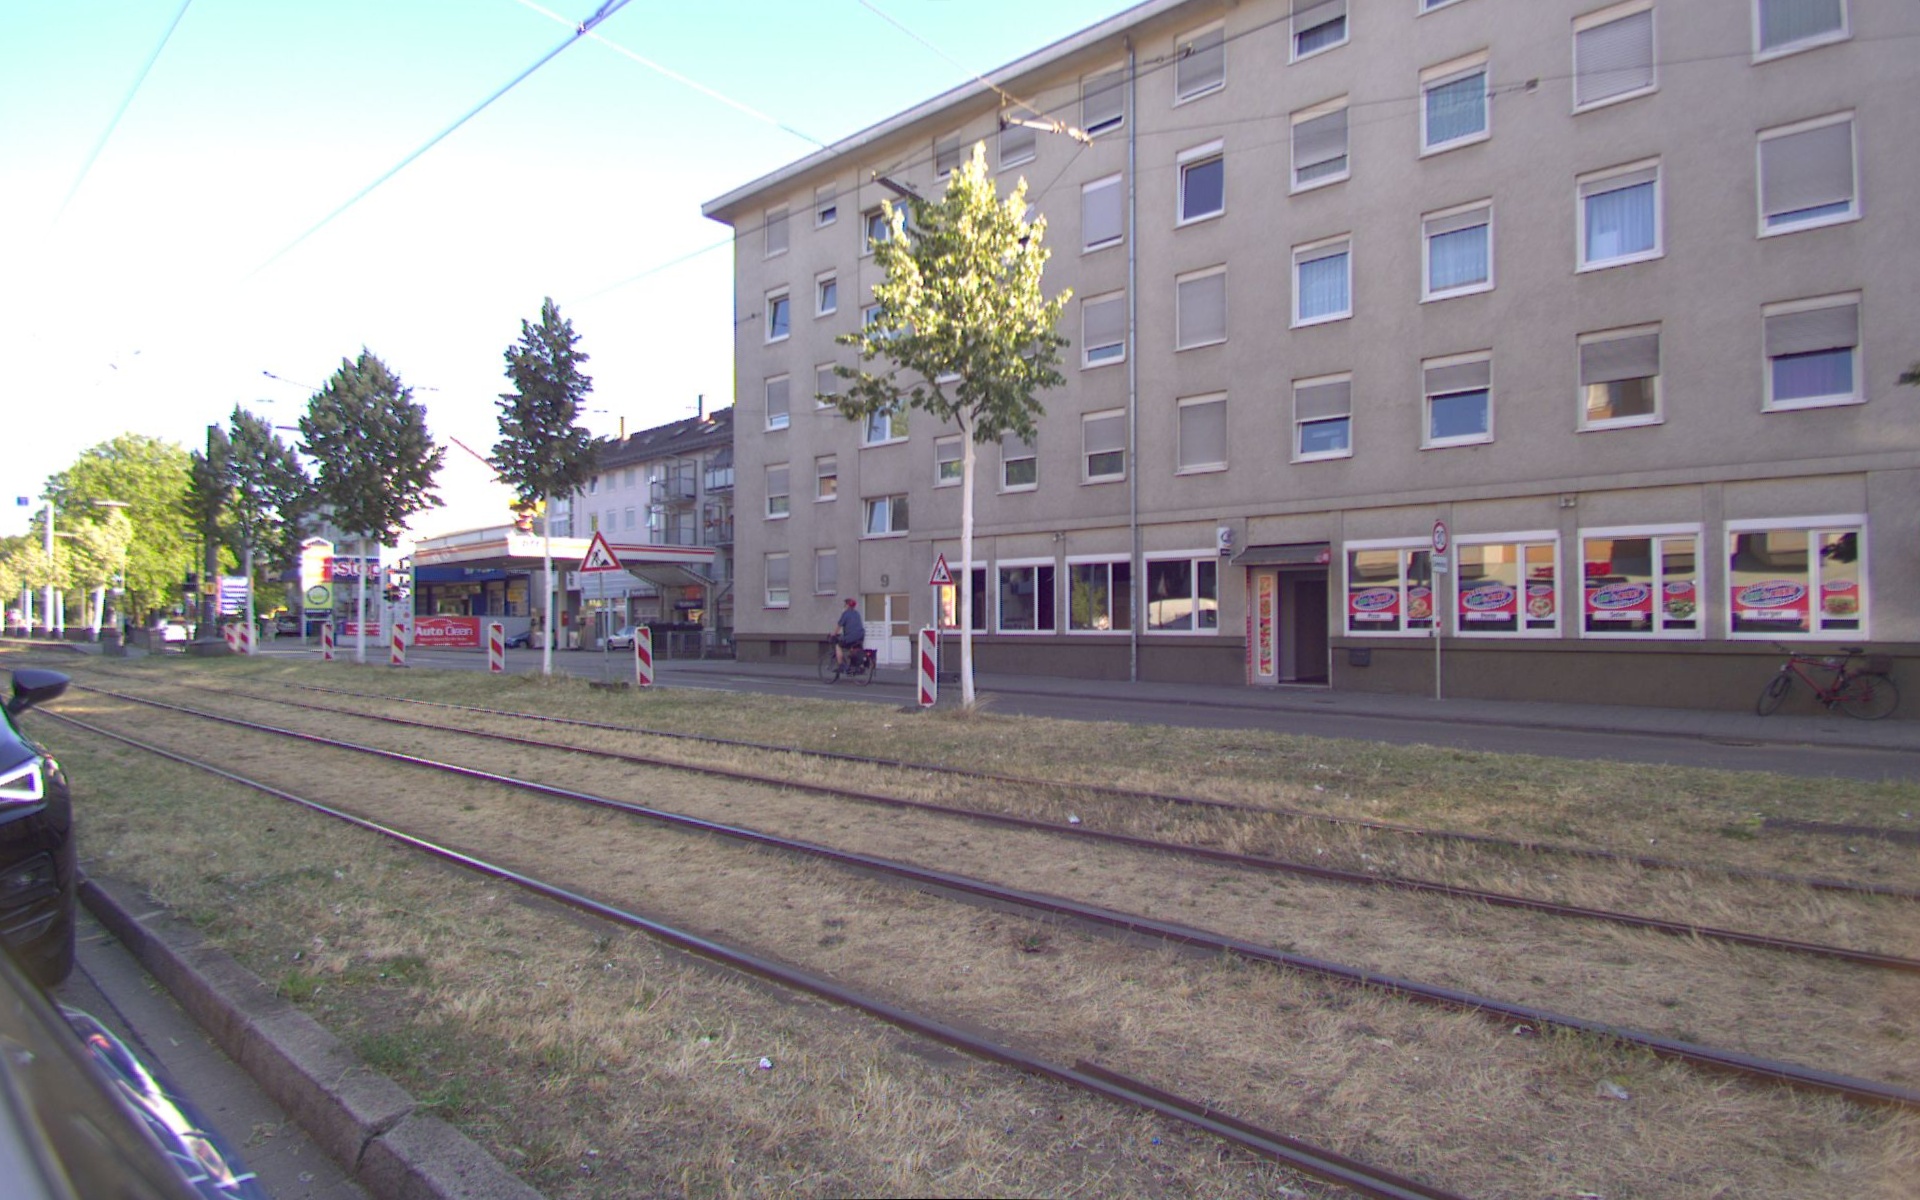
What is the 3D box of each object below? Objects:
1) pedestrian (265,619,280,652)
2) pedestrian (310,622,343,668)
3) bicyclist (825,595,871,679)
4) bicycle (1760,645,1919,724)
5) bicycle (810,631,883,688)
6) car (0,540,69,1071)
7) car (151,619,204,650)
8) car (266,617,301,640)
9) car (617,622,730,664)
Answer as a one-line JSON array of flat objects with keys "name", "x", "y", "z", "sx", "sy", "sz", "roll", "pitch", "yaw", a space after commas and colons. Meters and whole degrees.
[{"name": "pedestrian", "x": -42.236, "y": 2.165, "z": 62.170, "sx": 0.583, "sy": 2.029, "sz": 0.623, "roll": -2, "pitch": -1, "yaw": 42}, {"name": "pedestrian", "x": -18.298, "y": 1.287, "z": 29.220, "sx": 0.581, "sy": 1.280, "sz": 0.655, "roll": -2, "pitch": -1, "yaw": 42}, {"name": "bicyclist", "x": -2.569, "y": 0.848, "z": 23.241, "sx": 0.808, "sy": 1.897, "sz": 0.645, "roll": -1, "pitch": -3, "yaw": 37}, {"name": "bicycle", "x": 12.815, "y": 1.194, "z": 14.696, "sx": 1.844, "sy": 1.031, "sz": 0.601, "roll": -1, "pitch": 0, "yaw": 41}, {"name": "bicycle", "x": -2.631, "y": 1.355, "z": 23.293, "sx": 1.868, "sy": 1.267, "sz": 0.451, "roll": -2, "pitch": -2, "yaw": 38}, {"name": "car", "x": -5.031, "y": 0.679, "z": 4.002, "sx": 3.998, "sy": 1.690, "sz": 1.752, "roll": -1, "pitch": -2, "yaw": 41}, {"name": "car", "x": -47.412, "y": 2.048, "z": 61.294, "sx": 4.395, "sy": 1.748, "sz": 1.971, "roll": -1, "pitch": -1, "yaw": 45}, {"name": "car", "x": -50.009, "y": 2.076, "z": 74.789, "sx": 1.756, "sy": 1.567, "sz": 4.006, "roll": -1, "pitch": 0, "yaw": -40}, {"name": "car", "x": -10.758, "y": 1.598, "z": 38.103, "sx": 1.906, "sy": 1.481, "sz": 3.680, "roll": -4, "pitch": -4, "yaw": 40}]
